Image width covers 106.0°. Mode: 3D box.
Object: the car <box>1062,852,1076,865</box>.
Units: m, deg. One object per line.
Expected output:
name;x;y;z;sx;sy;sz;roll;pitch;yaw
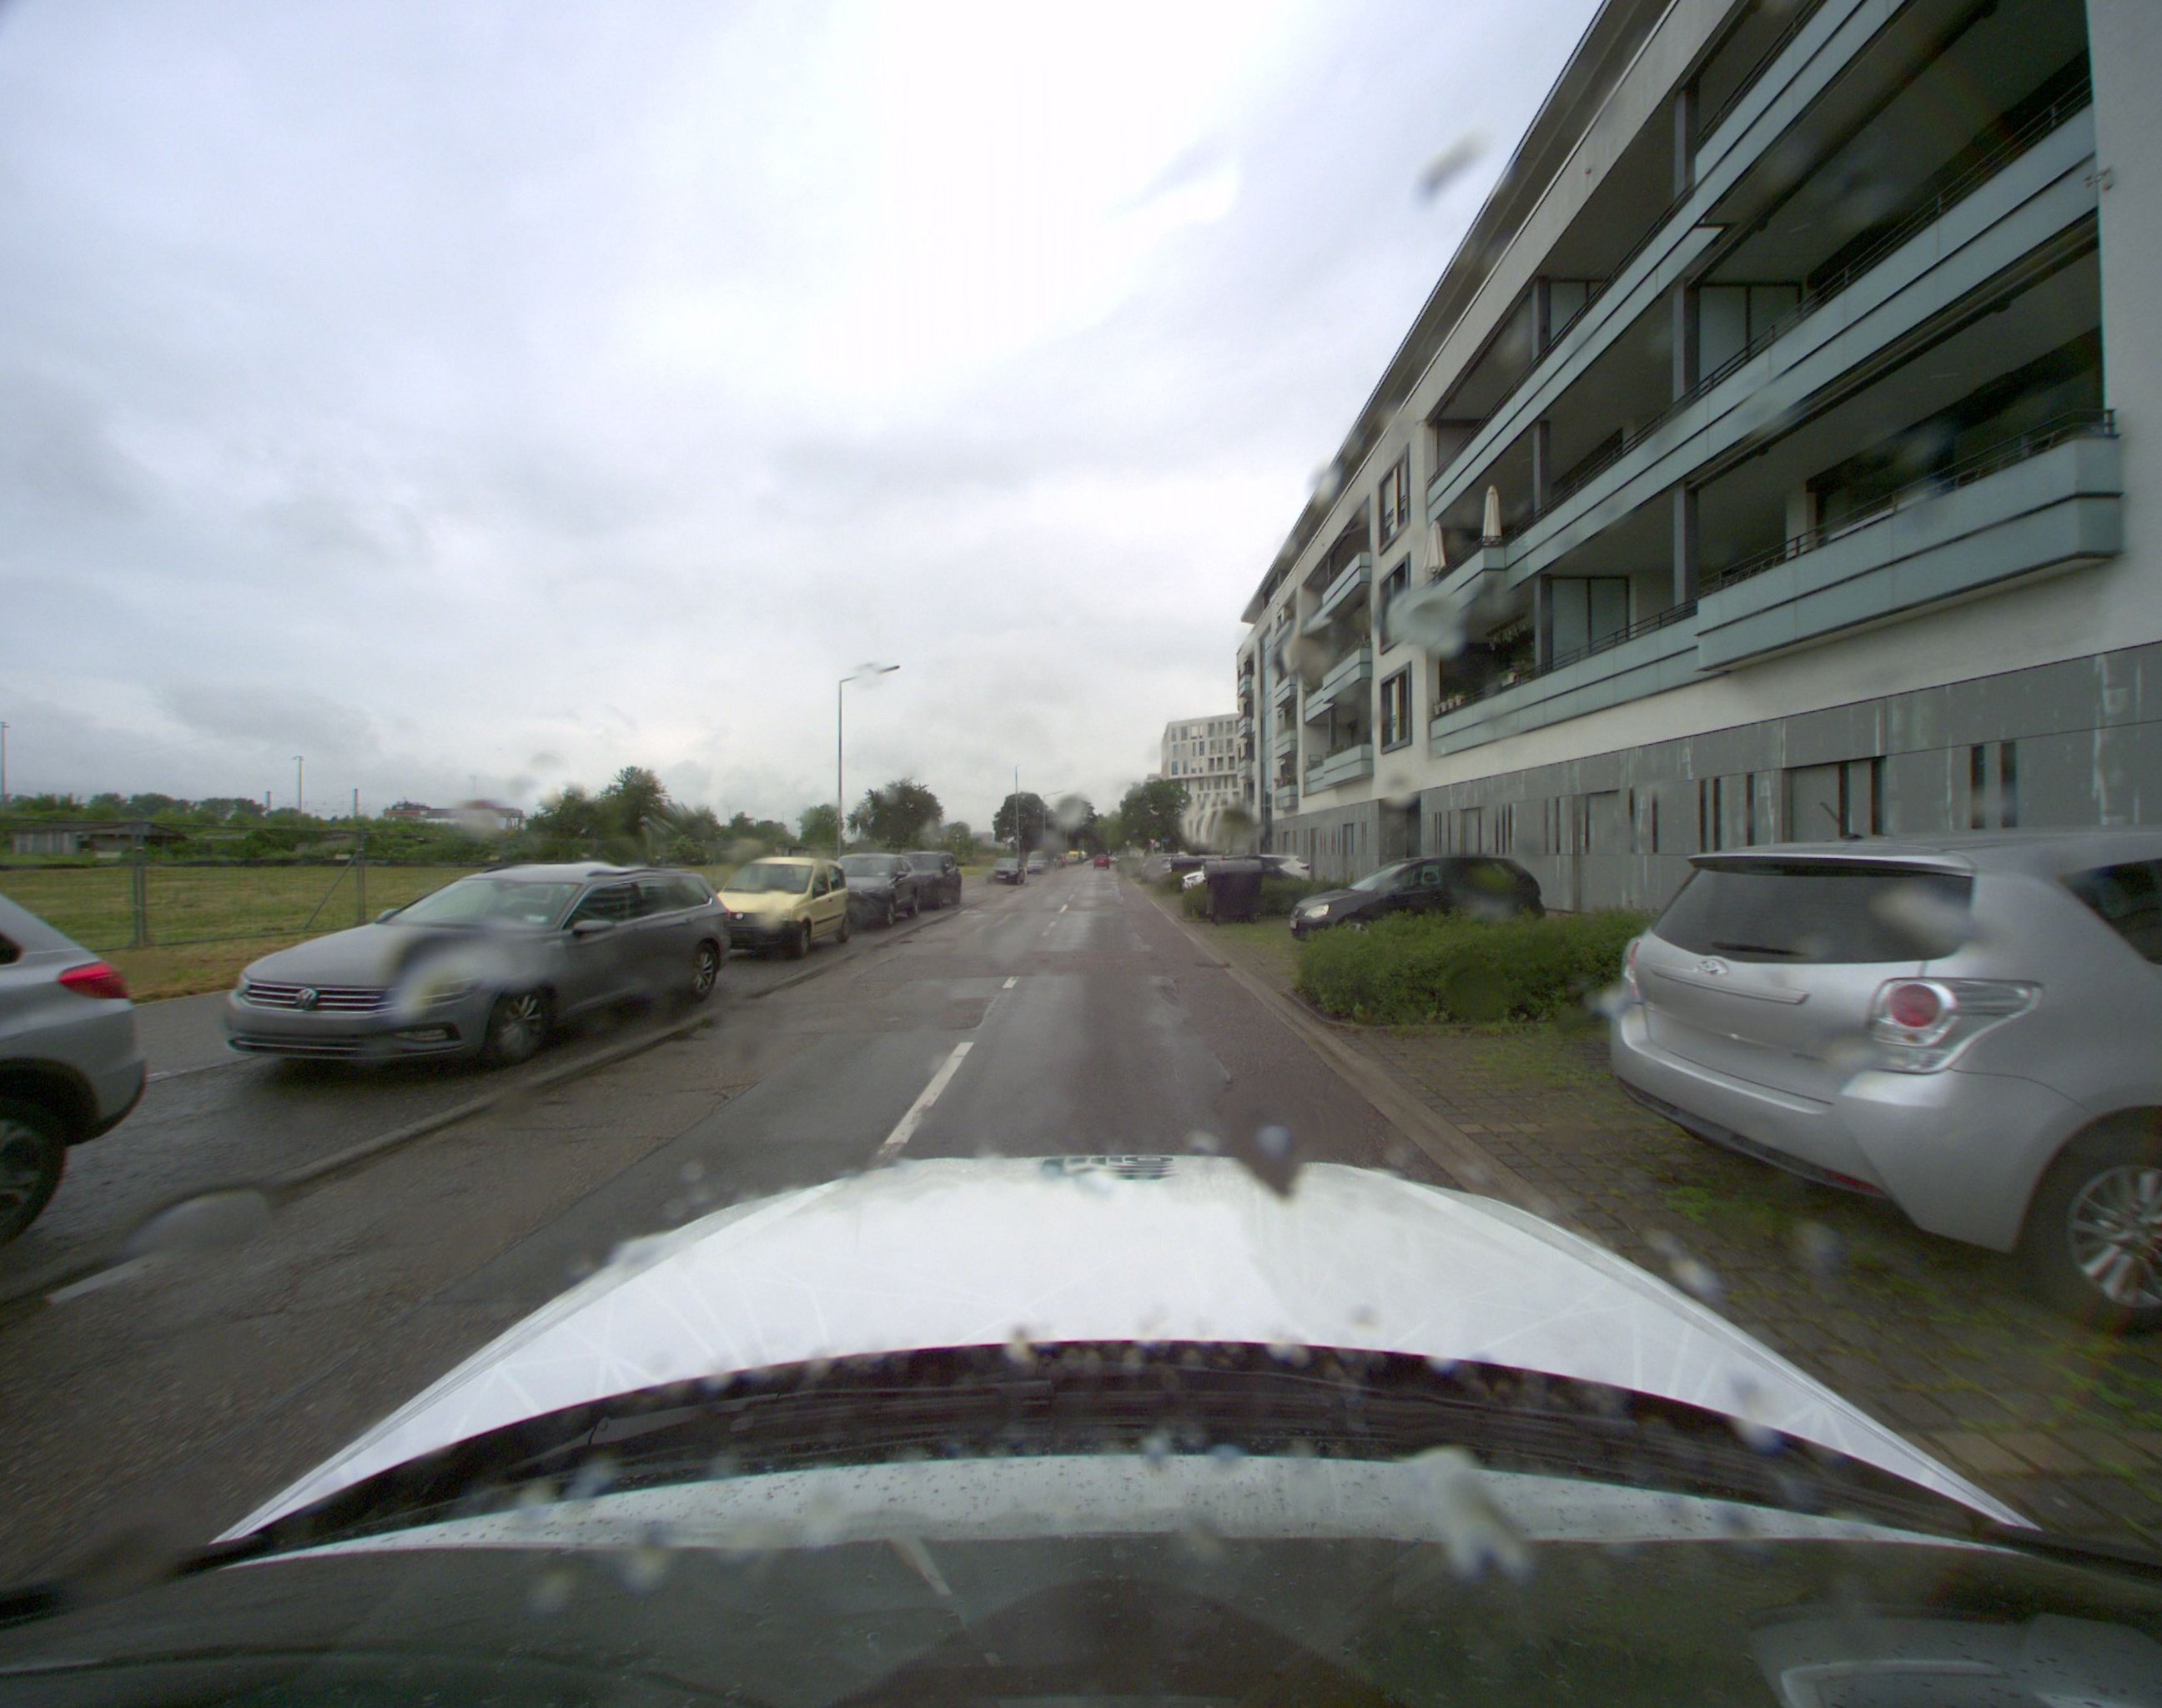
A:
car;-1.991;0.788;137.184;2.010;1.956;6.066;2;0;1

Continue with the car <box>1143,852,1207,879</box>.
car;6.400;0.785;55.787;4.076;1.623;1.966;-2;-1;-1

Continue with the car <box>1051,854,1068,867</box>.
car;-2.810;0.858;107.572;1.932;1.767;4.334;0;0;3

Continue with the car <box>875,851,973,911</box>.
car;-4.767;0.752;25.456;1.745;1.693;4.886;0;0;4

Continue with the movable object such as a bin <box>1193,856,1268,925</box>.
movable object such as a bin;3.472;0.835;19.057;1.490;1.493;1.156;-3;0;1

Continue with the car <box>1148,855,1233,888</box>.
car;5.452;0.855;41.048;4.045;1.497;2.059;-1;0;1

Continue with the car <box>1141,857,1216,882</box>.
car;6.052;0.951;50.891;4.394;1.405;1.910;-2;-1;0

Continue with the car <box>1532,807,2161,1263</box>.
car;4.684;0.655;3.829;4.194;1.644;1.686;-1;-1;0

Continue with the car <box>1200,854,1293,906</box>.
car;5.190;0.808;25.740;2.619;1.507;1.205;-2;0;-5

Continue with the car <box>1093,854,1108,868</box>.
car;2.296;0.812;95.361;1.750;1.706;4.001;0;0;1

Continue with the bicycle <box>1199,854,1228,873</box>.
bicycle;10.733;0.799;65.991;2.169;1.522;0.634;-1;-1;21

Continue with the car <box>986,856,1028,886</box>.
car;-4.145;0.944;46.461;1.840;1.561;4.153;3;0;1

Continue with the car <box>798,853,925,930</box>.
car;-4.976;0.778;19.069;1.746;1.590;4.134;0;0;1

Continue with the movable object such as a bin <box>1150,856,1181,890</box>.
movable object such as a bin;3.916;0.870;38.077;1.295;1.526;1.582;-2;0;1

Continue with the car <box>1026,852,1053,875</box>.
car;-3.548;0.773;70.933;1.948;1.901;4.996;1;0;1

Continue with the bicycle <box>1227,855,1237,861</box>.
bicycle;25.493;0.618;137.225;0.716;1.033;2.086;-1;-1;40

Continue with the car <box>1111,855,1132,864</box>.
car;8.879;1.172;179.380;4.527;1.685;1.885;-5;-1;-2

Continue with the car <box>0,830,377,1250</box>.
car;-5.165;0.716;2.323;1.846;1.607;4.989;3;0;0

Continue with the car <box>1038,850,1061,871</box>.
car;-3.272;0.680;84.666;1.952;2.058;5.276;1;0;2

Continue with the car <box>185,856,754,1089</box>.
car;-5.135;0.840;7.927;1.831;1.528;4.672;2;-1;2

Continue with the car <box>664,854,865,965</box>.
car;-5.085;0.822;13.759;1.720;1.575;4.209;0;-1;0

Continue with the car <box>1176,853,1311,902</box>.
car;5.612;0.800;28.572;4.331;1.530;1.893;-2;0;0

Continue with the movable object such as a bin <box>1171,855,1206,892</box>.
movable object such as a bin;4.599;0.818;35.068;1.295;1.526;1.582;-2;0;1

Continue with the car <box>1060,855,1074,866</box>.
car;-2.094;1.031;124.480;1.797;1.561;4.034;3;0;2

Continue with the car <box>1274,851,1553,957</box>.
car;5.275;0.761;13.299;3.831;1.491;1.763;-2;0;2
